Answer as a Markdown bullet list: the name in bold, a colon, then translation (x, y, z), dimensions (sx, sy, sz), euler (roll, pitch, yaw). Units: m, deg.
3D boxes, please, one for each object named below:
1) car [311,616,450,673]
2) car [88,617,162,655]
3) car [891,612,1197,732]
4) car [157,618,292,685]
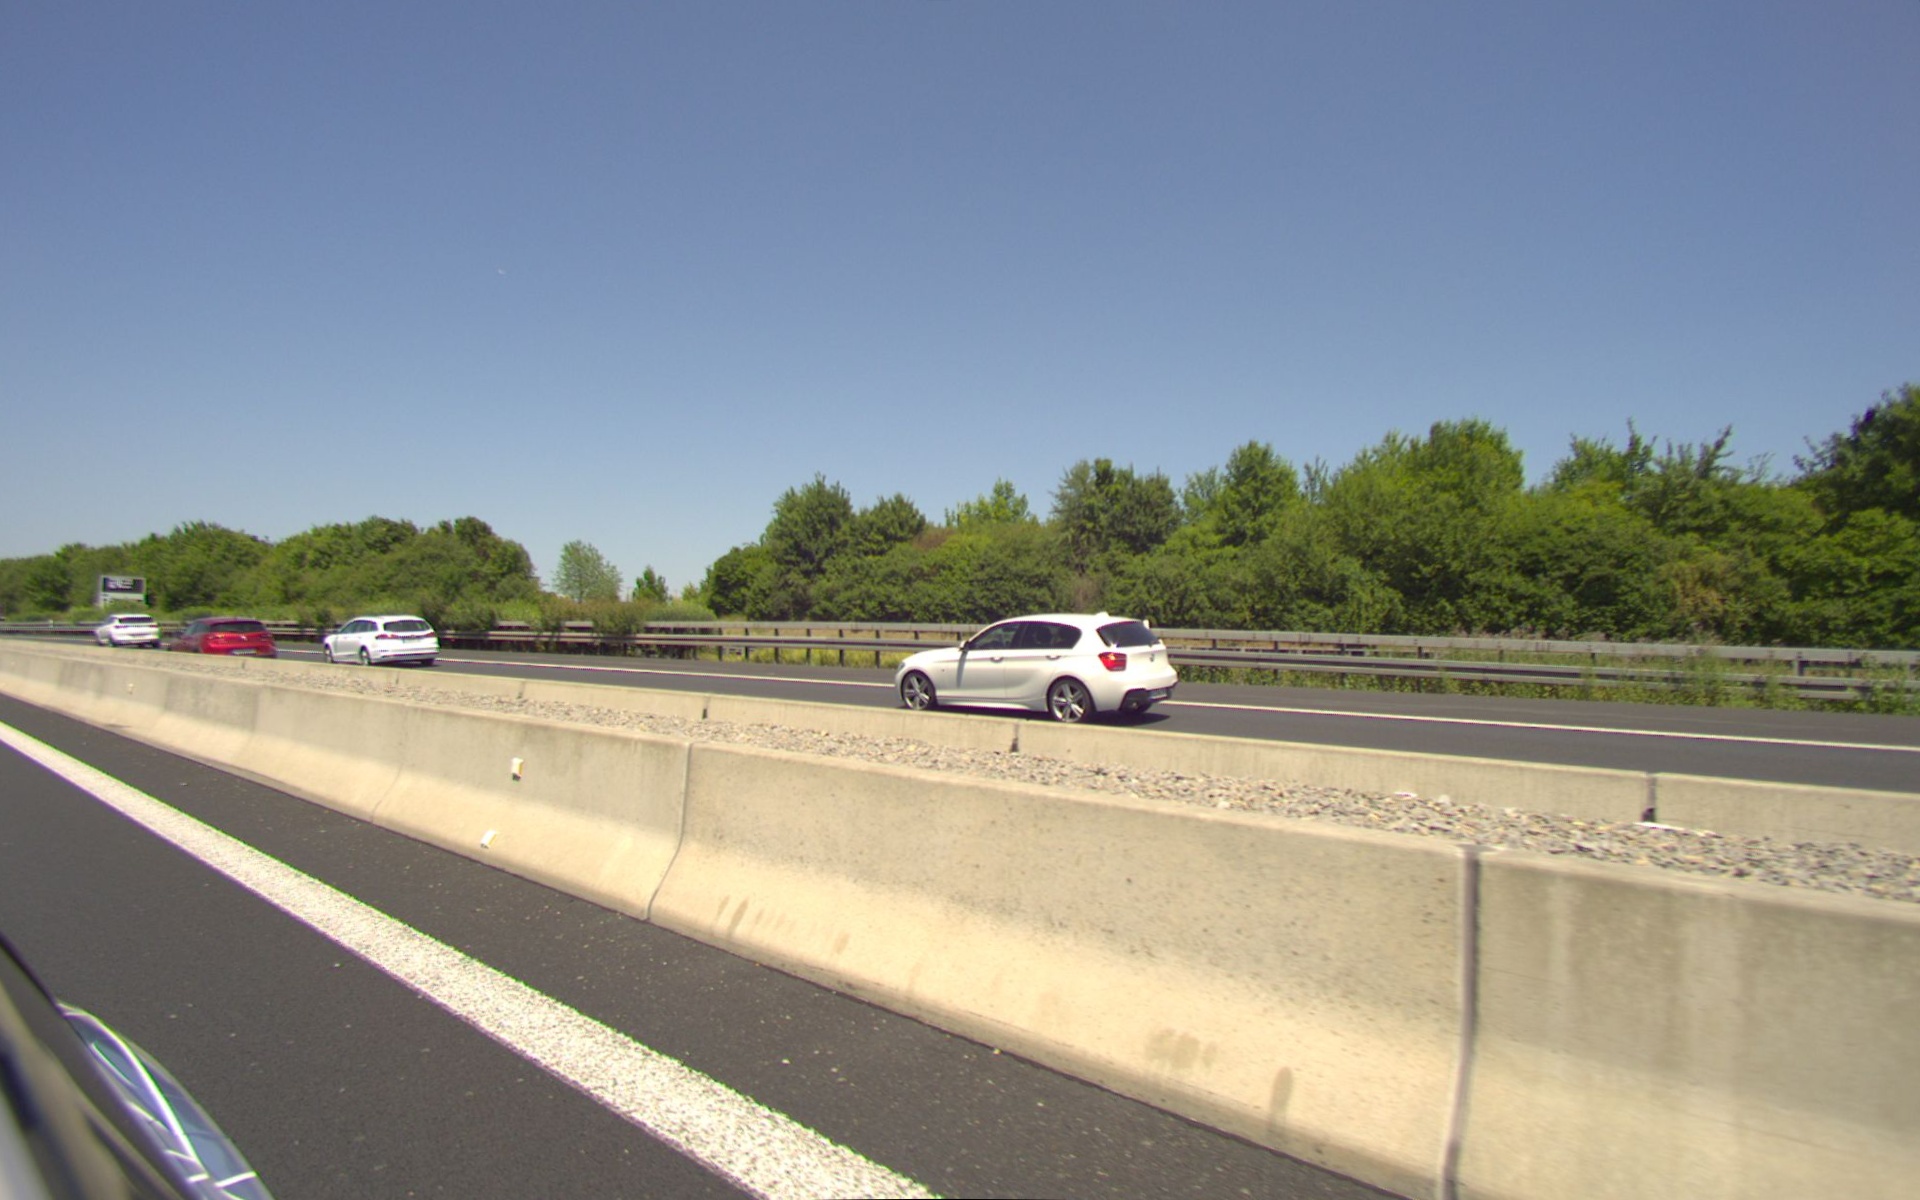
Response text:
- **car**: translation (-17.131, 1.243, 29.806), dimensions (5.038, 1.555, 1.973), euler (-1, -1, 41)
- **car**: translation (-39.398, 1.642, 47.715), dimensions (4.659, 1.678, 1.850), euler (-1, -1, 40)
- **car**: translation (1.092, 0.919, 14.277), dimensions (3.998, 1.405, 1.831), euler (-2, 0, 41)
- **car**: translation (-20.113, 1.327, 27.610), dimensions (4.631, 1.671, 1.973), euler (-1, -1, 41)
